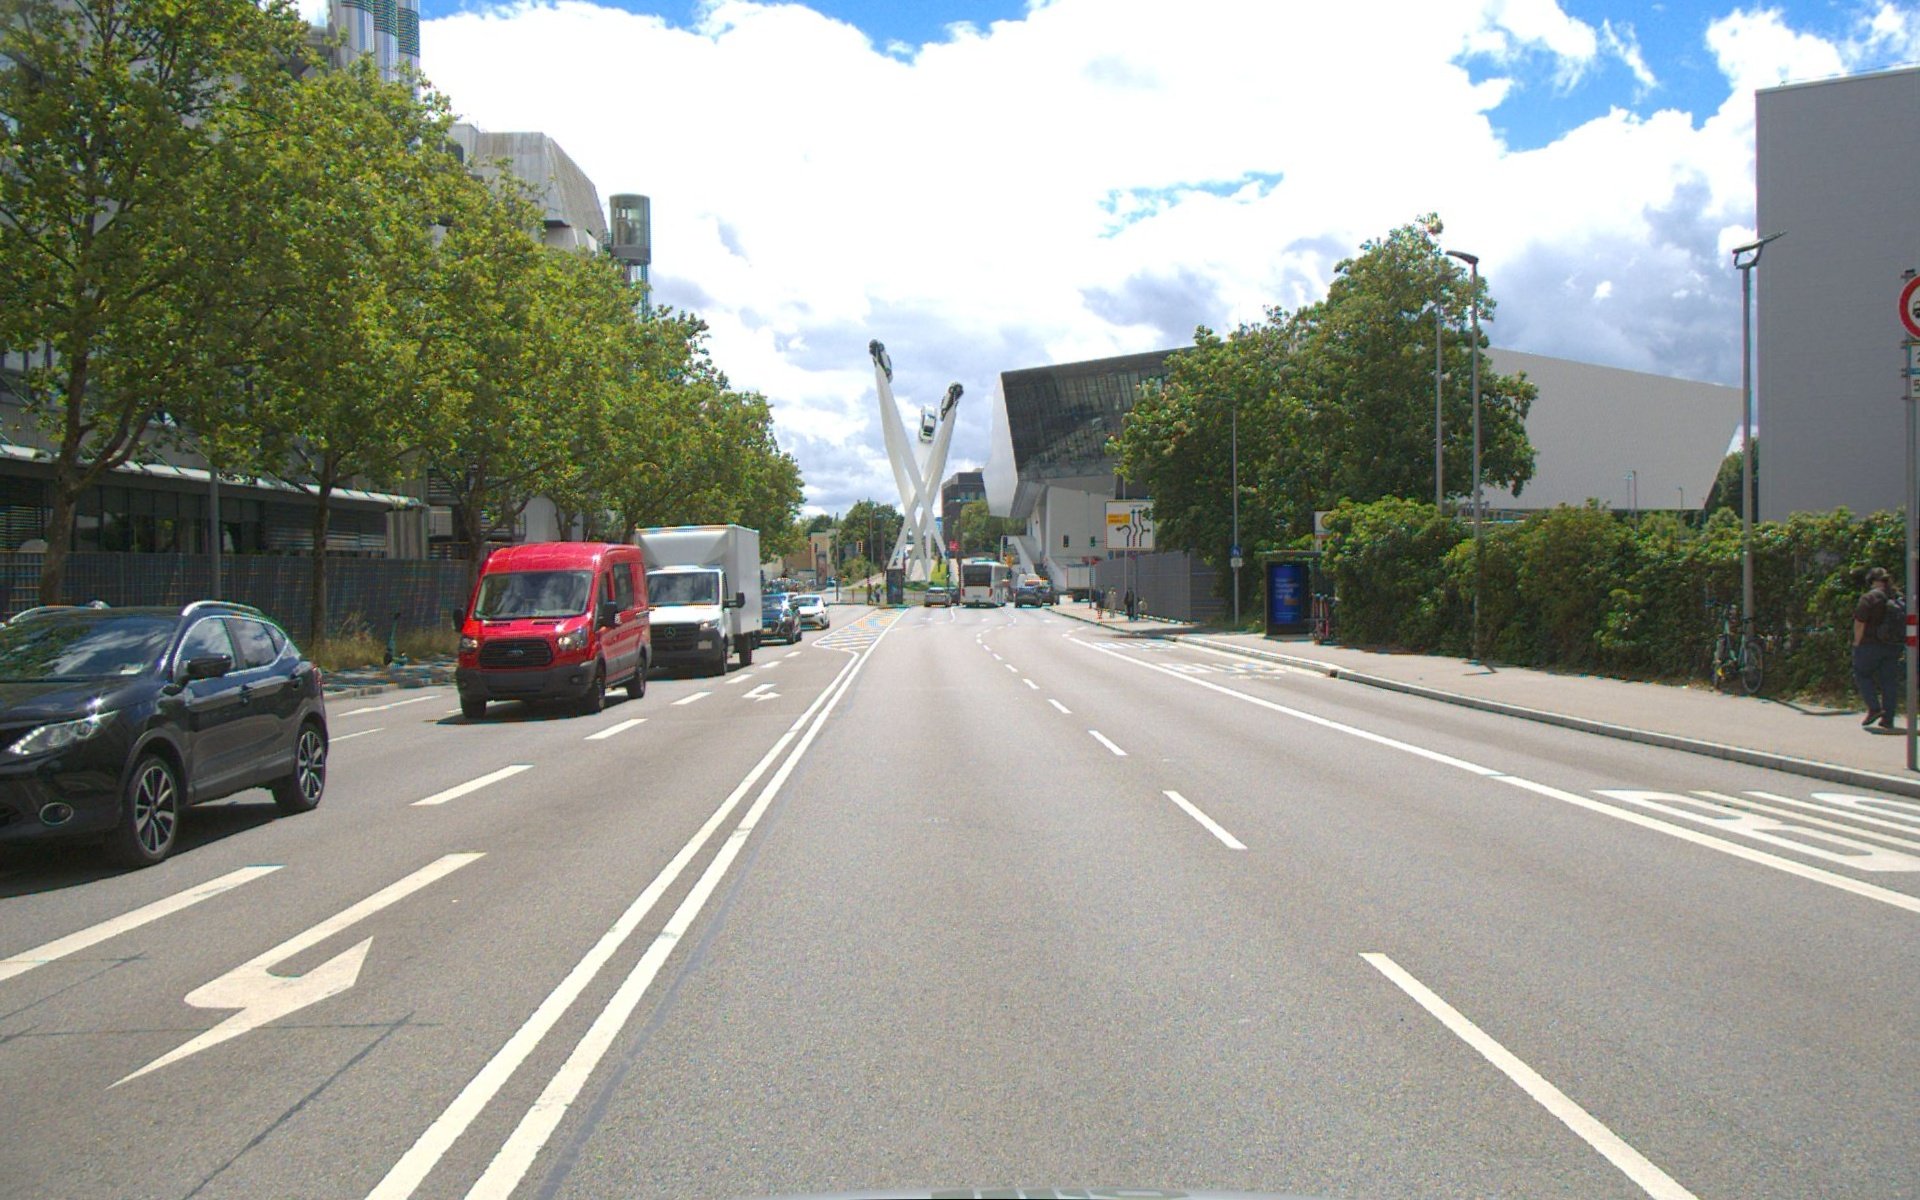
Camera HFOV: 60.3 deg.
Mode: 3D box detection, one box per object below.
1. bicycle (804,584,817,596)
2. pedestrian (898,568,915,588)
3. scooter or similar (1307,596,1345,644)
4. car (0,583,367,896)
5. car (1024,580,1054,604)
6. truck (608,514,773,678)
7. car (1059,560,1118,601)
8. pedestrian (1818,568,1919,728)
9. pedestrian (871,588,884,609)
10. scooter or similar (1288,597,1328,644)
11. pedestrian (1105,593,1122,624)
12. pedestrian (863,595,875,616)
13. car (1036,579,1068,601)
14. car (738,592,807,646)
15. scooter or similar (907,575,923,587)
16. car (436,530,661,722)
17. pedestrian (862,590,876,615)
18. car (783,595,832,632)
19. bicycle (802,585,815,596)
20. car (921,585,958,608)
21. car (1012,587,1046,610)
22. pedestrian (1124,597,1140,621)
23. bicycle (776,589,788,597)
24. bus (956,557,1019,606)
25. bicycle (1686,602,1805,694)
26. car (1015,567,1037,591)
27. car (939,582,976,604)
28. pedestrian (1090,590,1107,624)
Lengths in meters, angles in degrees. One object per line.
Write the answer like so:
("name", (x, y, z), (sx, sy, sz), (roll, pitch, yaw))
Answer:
("bicycle", (-19.133, -1.279, 212.075), (1.573, 1.407, 0.492), (1, -1, -2))
("pedestrian", (-5.214, -2.130, 160.403), (1.264, 1.847, 0.980), (-5, 4, -22))
("scooter or similar", (9.526, 0.508, 43.042), (0.531, 1.183, 1.790), (-1, 0, 26))
("car", (-5.698, 0.812, 11.283), (1.700, 1.713, 4.213), (-2, 0, 0))
("car", (7.014, -0.691, 146.168), (1.951, 1.966, 4.244), (1, 0, 12))
("truck", (-5.810, -0.056, 36.779), (2.402, 3.183, 7.242), (-2, 0, 0))
("car", (11.698, -1.716, 149.621), (3.265, 3.565, 9.345), (1, 0, 18))
("pedestrian", (9.995, 0.505, 17.935), (0.793, 1.673, 0.997), (-2, 0, -3))
("pedestrian", (-6.952, -0.113, 139.412), (0.848, 1.805, 1.031), (1, -1, -14))
("scooter or similar", (9.308, 0.538, 44.149), (0.531, 1.183, 2.126), (-1, 0, 26))
("pedestrian", (8.107, 0.439, 87.346), (0.778, 1.625, 0.731), (1, -1, -1))
("pedestrian", (-7.866, 0.440, 143.537), (0.848, 1.805, 1.031), (1, -1, -14))
("car", (7.435, -0.799, 133.808), (1.951, 1.665, 4.003), (1, 0, 12))
("car", (-6.026, 0.583, 53.604), (1.704, 1.608, 4.266), (-3, 0, 0))
("scooter or similar", (-4.371, -1.835, 160.716), (1.380, 1.043, 0.547), (-5, 6, -21))
("car", (-6.102, 0.349, 25.290), (2.021, 2.551, 5.479), (-2, 0, 0))
("pedestrian", (-7.813, 0.222, 141.984), (0.932, 2.091, 0.951), (0, -1, 18))
("car", (-6.396, 0.540, 69.821), (1.657, 1.439, 4.145), (-2, 0, -1))
("bicycle", (-19.244, -1.221, 210.535), (1.573, 1.339, 0.492), (1, -1, -2))
("car", (-1.484, -0.225, 123.211), (1.951, 1.665, 4.003), (1, 0, 11))
("car", (5.274, -0.116, 126.310), (1.951, 1.665, 4.004), (1, 1, 12))
("pedestrian", (8.486, 0.446, 81.629), (0.742, 1.169, 0.972), (1, -1, 2))
("bicycle", (-21.921, -0.866, 203.965), (0.483, 0.881, 1.603), (0, 2, 39))
("bus", (2.191, -1.339, 126.654), (3.006, 3.421, 12.233), (1, 0, 9))
("bicycle", (10.822, 0.636, 22.876), (0.434, 1.200, 2.468), (1, 0, -1))
("car", (6.487, -2.046, 162.524), (1.951, 2.209, 4.658), (1, 0, 4))
("car", (-0.157, -0.569, 132.711), (1.951, 1.665, 4.003), (1, 0, 15))
("pedestrian", (7.316, 0.366, 87.348), (0.778, 1.751, 0.731), (1, -1, -1))
